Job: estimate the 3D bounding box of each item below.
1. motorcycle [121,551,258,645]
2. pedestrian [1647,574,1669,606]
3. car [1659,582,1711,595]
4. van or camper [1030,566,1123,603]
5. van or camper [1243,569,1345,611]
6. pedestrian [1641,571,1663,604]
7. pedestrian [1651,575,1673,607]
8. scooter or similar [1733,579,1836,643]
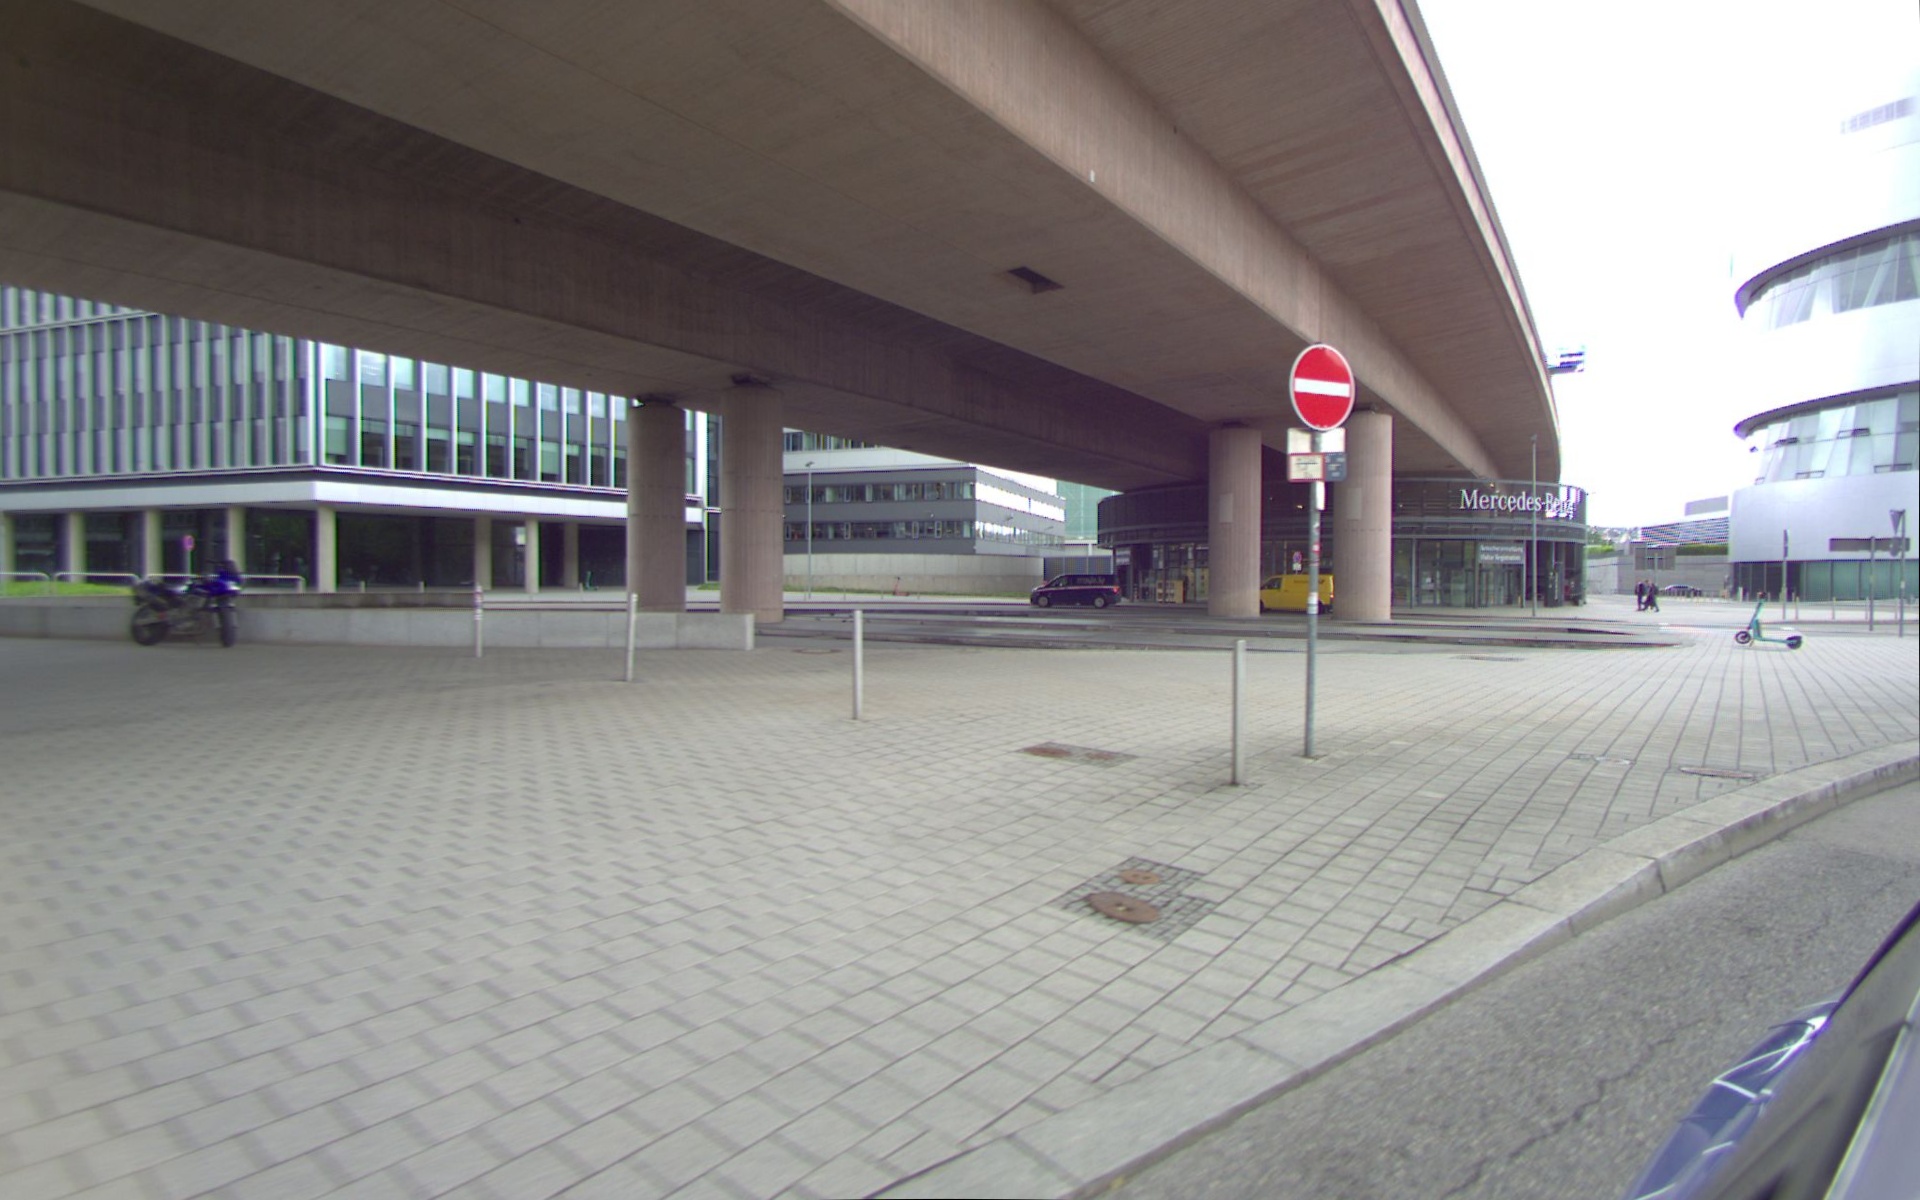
[{"bbox_3d":[-11.071,-0.042,14.542,1.915,1.280,0.545,2,0,18],"label":"motorcycle"},{"bbox_3d":[38.489,-0.532,55.792,0.763,1.726,0.782,2,0,19],"label":"pedestrian"},{"bbox_3d":[87.500,-1.402,122.203,4.864,1.416,1.519,2,0,29],"label":"car"},{"bbox_3d":[6.496,-0.868,56.235,4.836,1.917,2.142,2,0,18],"label":"van or camper"},{"bbox_3d":[16.987,-0.558,51.501,4.477,2.024,2.332,2,2,36],"label":"van or camper"},{"bbox_3d":[38.723,-0.717,56.625,0.773,1.821,0.860,2,0,20],"label":"pedestrian"},{"bbox_3d":[38.149,-0.497,55.017,0.763,1.726,0.860,2,0,19],"label":"pedestrian"},{"bbox_3d":[18.092,0.225,22.229,0.509,1.312,1.649,2,1,-36],"label":"scooter or similar"}]
